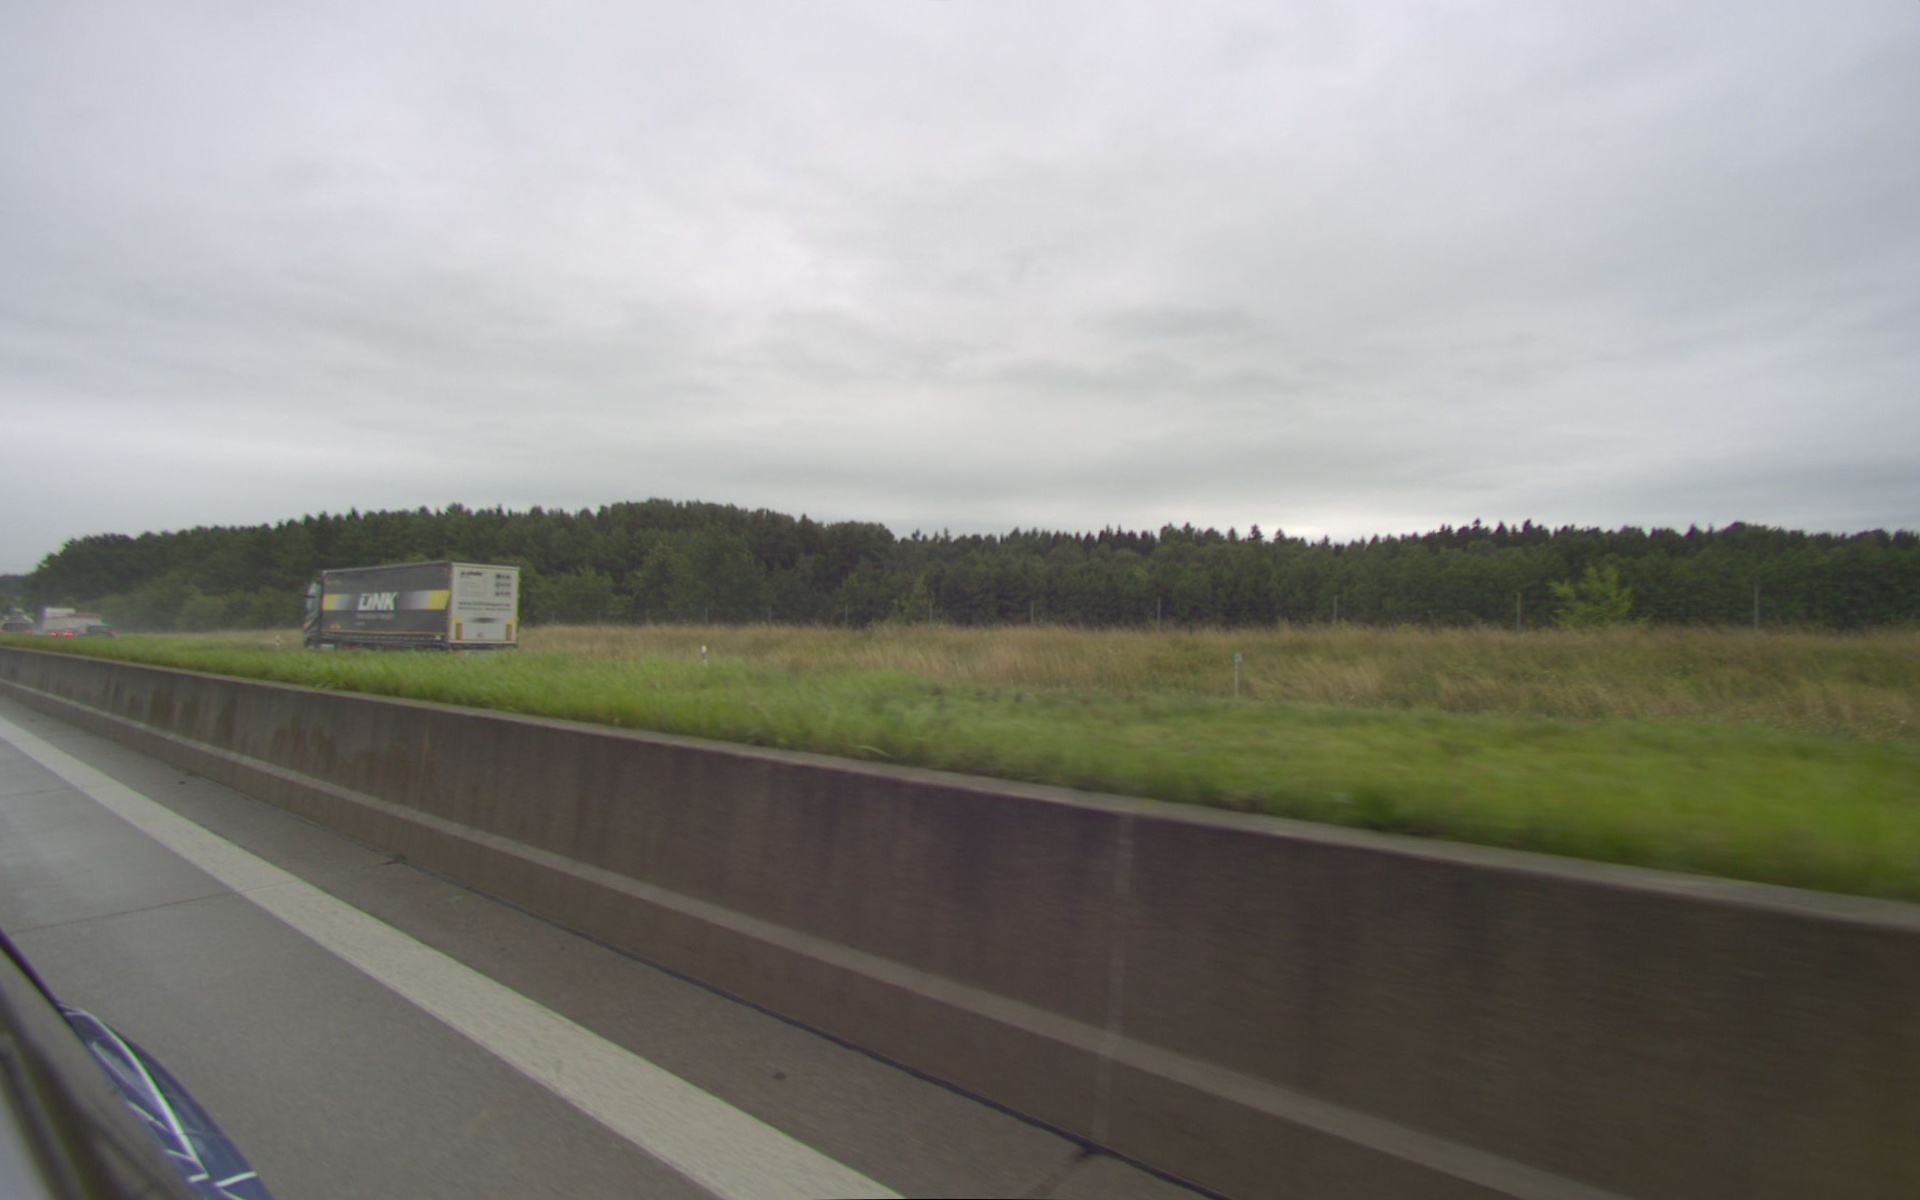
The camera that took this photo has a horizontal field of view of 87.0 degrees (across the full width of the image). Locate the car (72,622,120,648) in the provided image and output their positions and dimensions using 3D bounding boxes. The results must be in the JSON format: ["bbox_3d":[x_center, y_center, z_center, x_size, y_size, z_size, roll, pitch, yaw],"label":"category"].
[{"bbox_3d":[-56.105,2.261,65.729,3.998,1.608,1.809,-1,-2,41],"label":"car"}]

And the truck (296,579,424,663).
[{"bbox_3d":[-26.939,0.937,45.355,6.033,3.500,3.164,-1,-2,41],"label":"truck"}]

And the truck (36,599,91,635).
[{"bbox_3d":[-86.642,1.625,97.794,6.034,3.359,3.219,-1,-2,42],"label":"truck"}]

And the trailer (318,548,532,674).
[{"bbox_3d":[-21.950,0.385,40.848,13.550,4.373,3.194,0,0,42],"label":"trailer"}]

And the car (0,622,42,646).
[{"bbox_3d":[-62.729,2.244,67.487,3.998,1.608,1.809,-1,-2,41],"label":"car"}]

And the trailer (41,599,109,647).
[{"bbox_3d":[-81.815,2.158,93.432,12.618,4.182,3.193,-1,-2,42],"label":"trailer"}]
